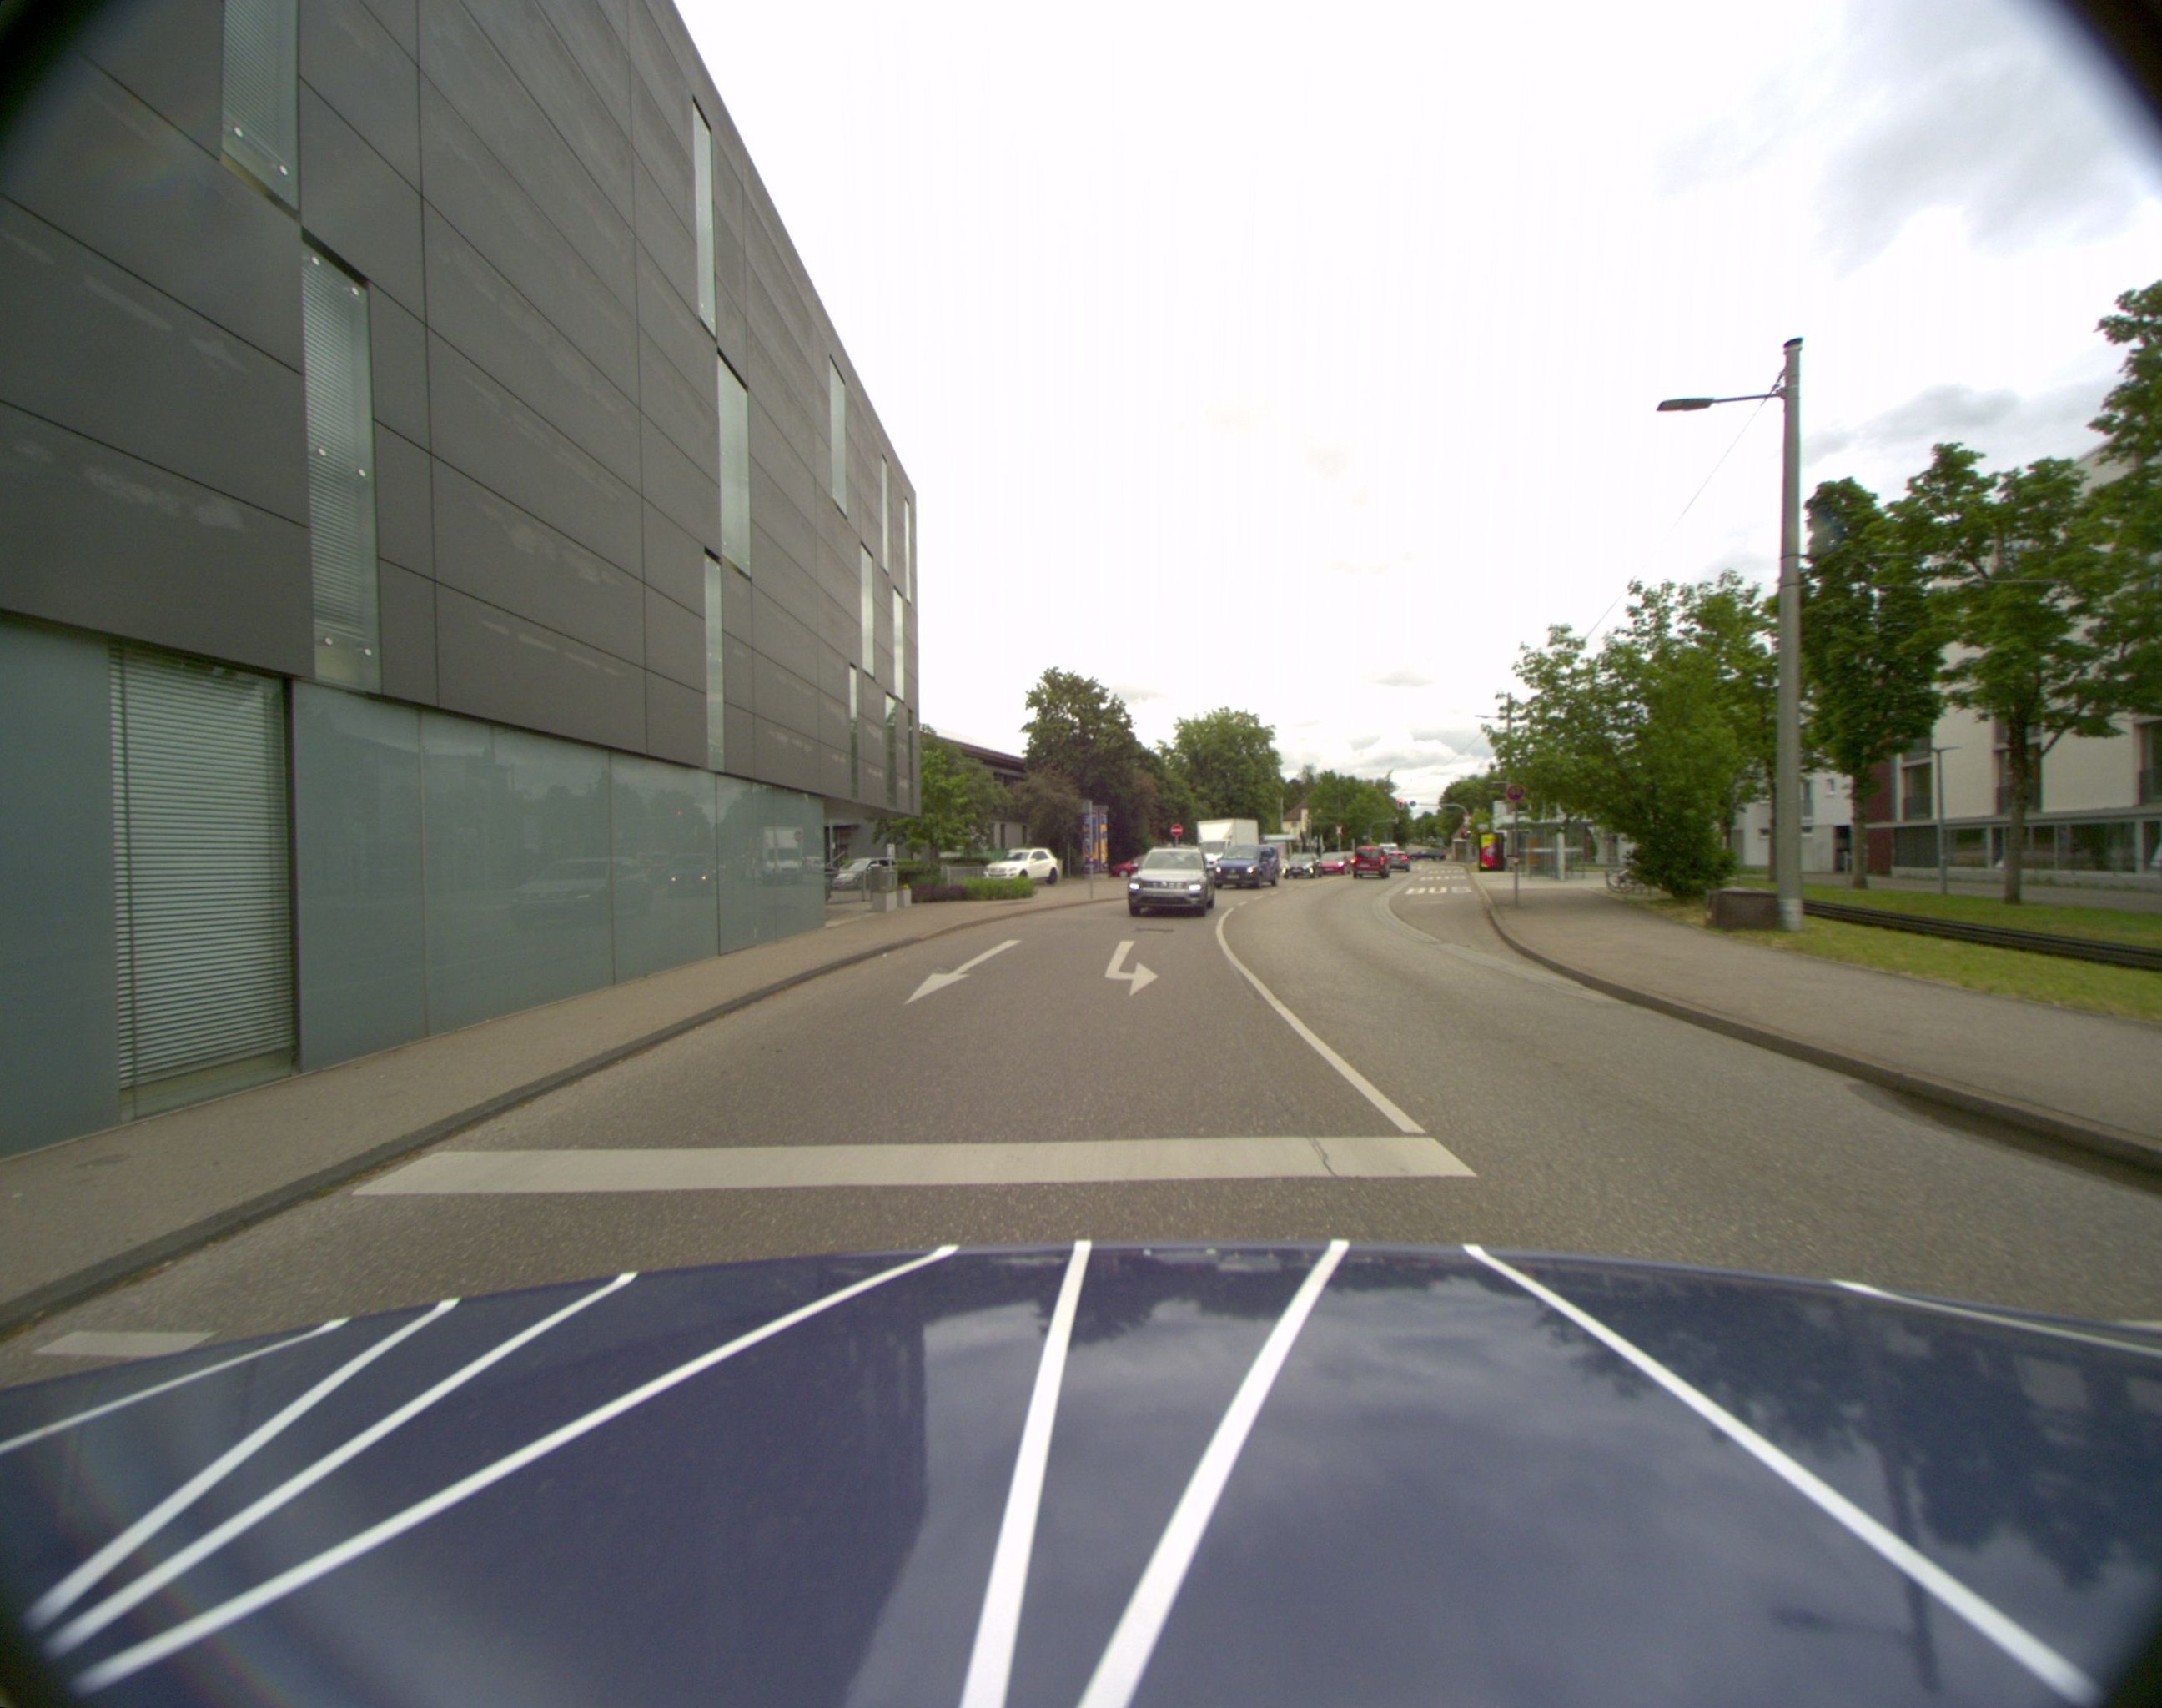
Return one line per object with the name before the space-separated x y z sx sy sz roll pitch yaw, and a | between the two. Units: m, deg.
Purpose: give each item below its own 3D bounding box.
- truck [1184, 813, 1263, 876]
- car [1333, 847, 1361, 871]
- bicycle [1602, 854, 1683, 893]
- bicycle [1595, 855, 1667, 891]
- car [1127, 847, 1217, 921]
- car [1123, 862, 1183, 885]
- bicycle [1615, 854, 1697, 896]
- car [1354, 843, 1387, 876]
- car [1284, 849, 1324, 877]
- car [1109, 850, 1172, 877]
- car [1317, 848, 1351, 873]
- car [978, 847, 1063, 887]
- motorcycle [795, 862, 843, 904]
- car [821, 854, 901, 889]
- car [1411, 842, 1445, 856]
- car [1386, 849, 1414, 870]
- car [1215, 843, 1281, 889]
truck | 8.730 -0.582 45.817 2.536 3.406 7.789 -1 1 27
car | 21.634 0.402 61.675 1.846 1.850 4.264 -1 0 23
bicycle | 15.699 0.556 21.281 1.750 1.040 0.409 -3 0 28
bicycle | 16.705 0.582 23.112 1.688 1.019 0.397 -3 0 28
car | 2.428 0.675 19.314 1.809 1.637 4.335 -1 0 13
car | 5.092 1.369 53.919 3.999 1.402 1.524 -3 1 -6
bicycle | 15.567 0.575 20.604 1.707 1.082 0.408 -3 0 14
car | 16.669 0.296 43.683 1.682 1.798 4.358 1 1 22
car | 13.061 0.507 44.327 1.846 1.525 4.006 0 0 22
car | 3.818 0.615 49.149 3.895 1.475 1.683 -3 0 1
car | 16.606 0.395 49.808 1.846 1.525 4.006 0 0 22
car | -2.766 0.563 36.192 1.853 1.747 4.730 -1 0 26
motorcycle | -8.993 0.976 26.193 0.669 1.385 2.126 -1 -1 8
car | -10.742 0.813 37.429 1.617 1.475 4.223 -1 2 19
car | 44.753 -0.679 98.103 3.990 1.696 1.931 -1 0 23
car | 24.112 0.374 57.409 1.769 1.470 4.007 1 1 25
car | 7.270 0.463 32.739 1.846 1.850 4.007 -1 0 26
